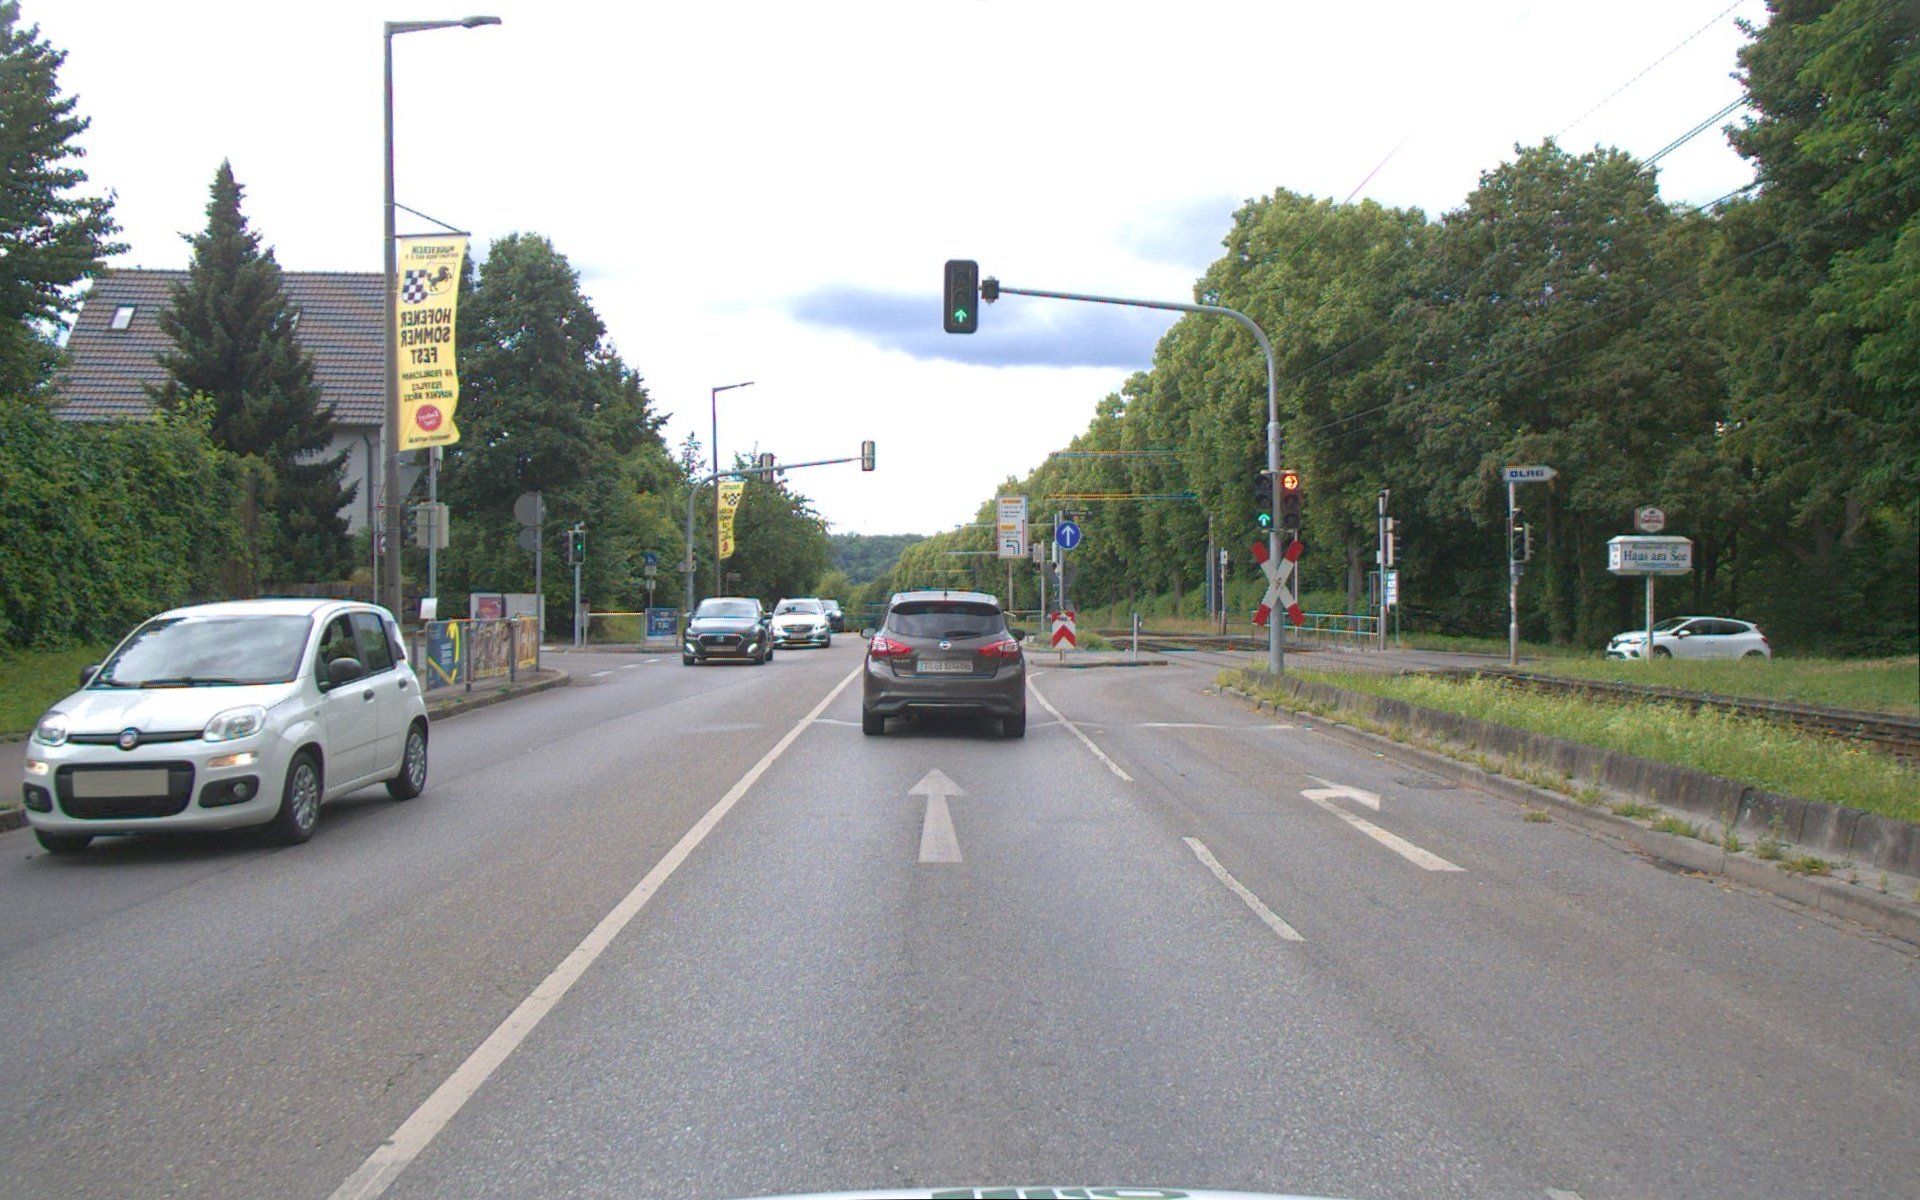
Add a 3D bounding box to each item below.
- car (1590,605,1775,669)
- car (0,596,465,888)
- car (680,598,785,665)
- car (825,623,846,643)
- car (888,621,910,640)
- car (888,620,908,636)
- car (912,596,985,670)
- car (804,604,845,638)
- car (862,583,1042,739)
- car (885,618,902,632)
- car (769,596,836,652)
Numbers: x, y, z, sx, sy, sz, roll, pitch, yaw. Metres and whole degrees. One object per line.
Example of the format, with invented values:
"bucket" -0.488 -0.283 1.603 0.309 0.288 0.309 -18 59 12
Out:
"car" 18.808 0.954 43.146 3.911 1.377 1.997 4 0 -7
"car" -4.964 0.786 11.508 1.776 1.550 4.698 -2 0 -3
"car" -4.994 0.662 36.773 1.775 1.397 4.160 0 0 0
"car" -11.242 2.951 149.111 1.749 1.725 3.998 0 -1 -2
"car" -4.948 2.460 133.734 1.707 1.333 3.998 2 0 -3
"car" -5.652 2.518 150.786 1.707 1.333 3.998 2 0 -3
"car" -0.266 0.675 36.214 1.507 1.504 3.763 -1 0 -1
"car" -6.655 1.041 81.567 1.863 1.601 4.479 0 -1 -3
"car" -0.110 0.607 19.043 1.798 1.545 4.482 1 0 -1
"car" -6.855 2.619 171.103 1.707 1.333 3.998 2 0 -3
"car" -4.825 0.704 51.162 1.782 1.594 5.202 1 0 -3
